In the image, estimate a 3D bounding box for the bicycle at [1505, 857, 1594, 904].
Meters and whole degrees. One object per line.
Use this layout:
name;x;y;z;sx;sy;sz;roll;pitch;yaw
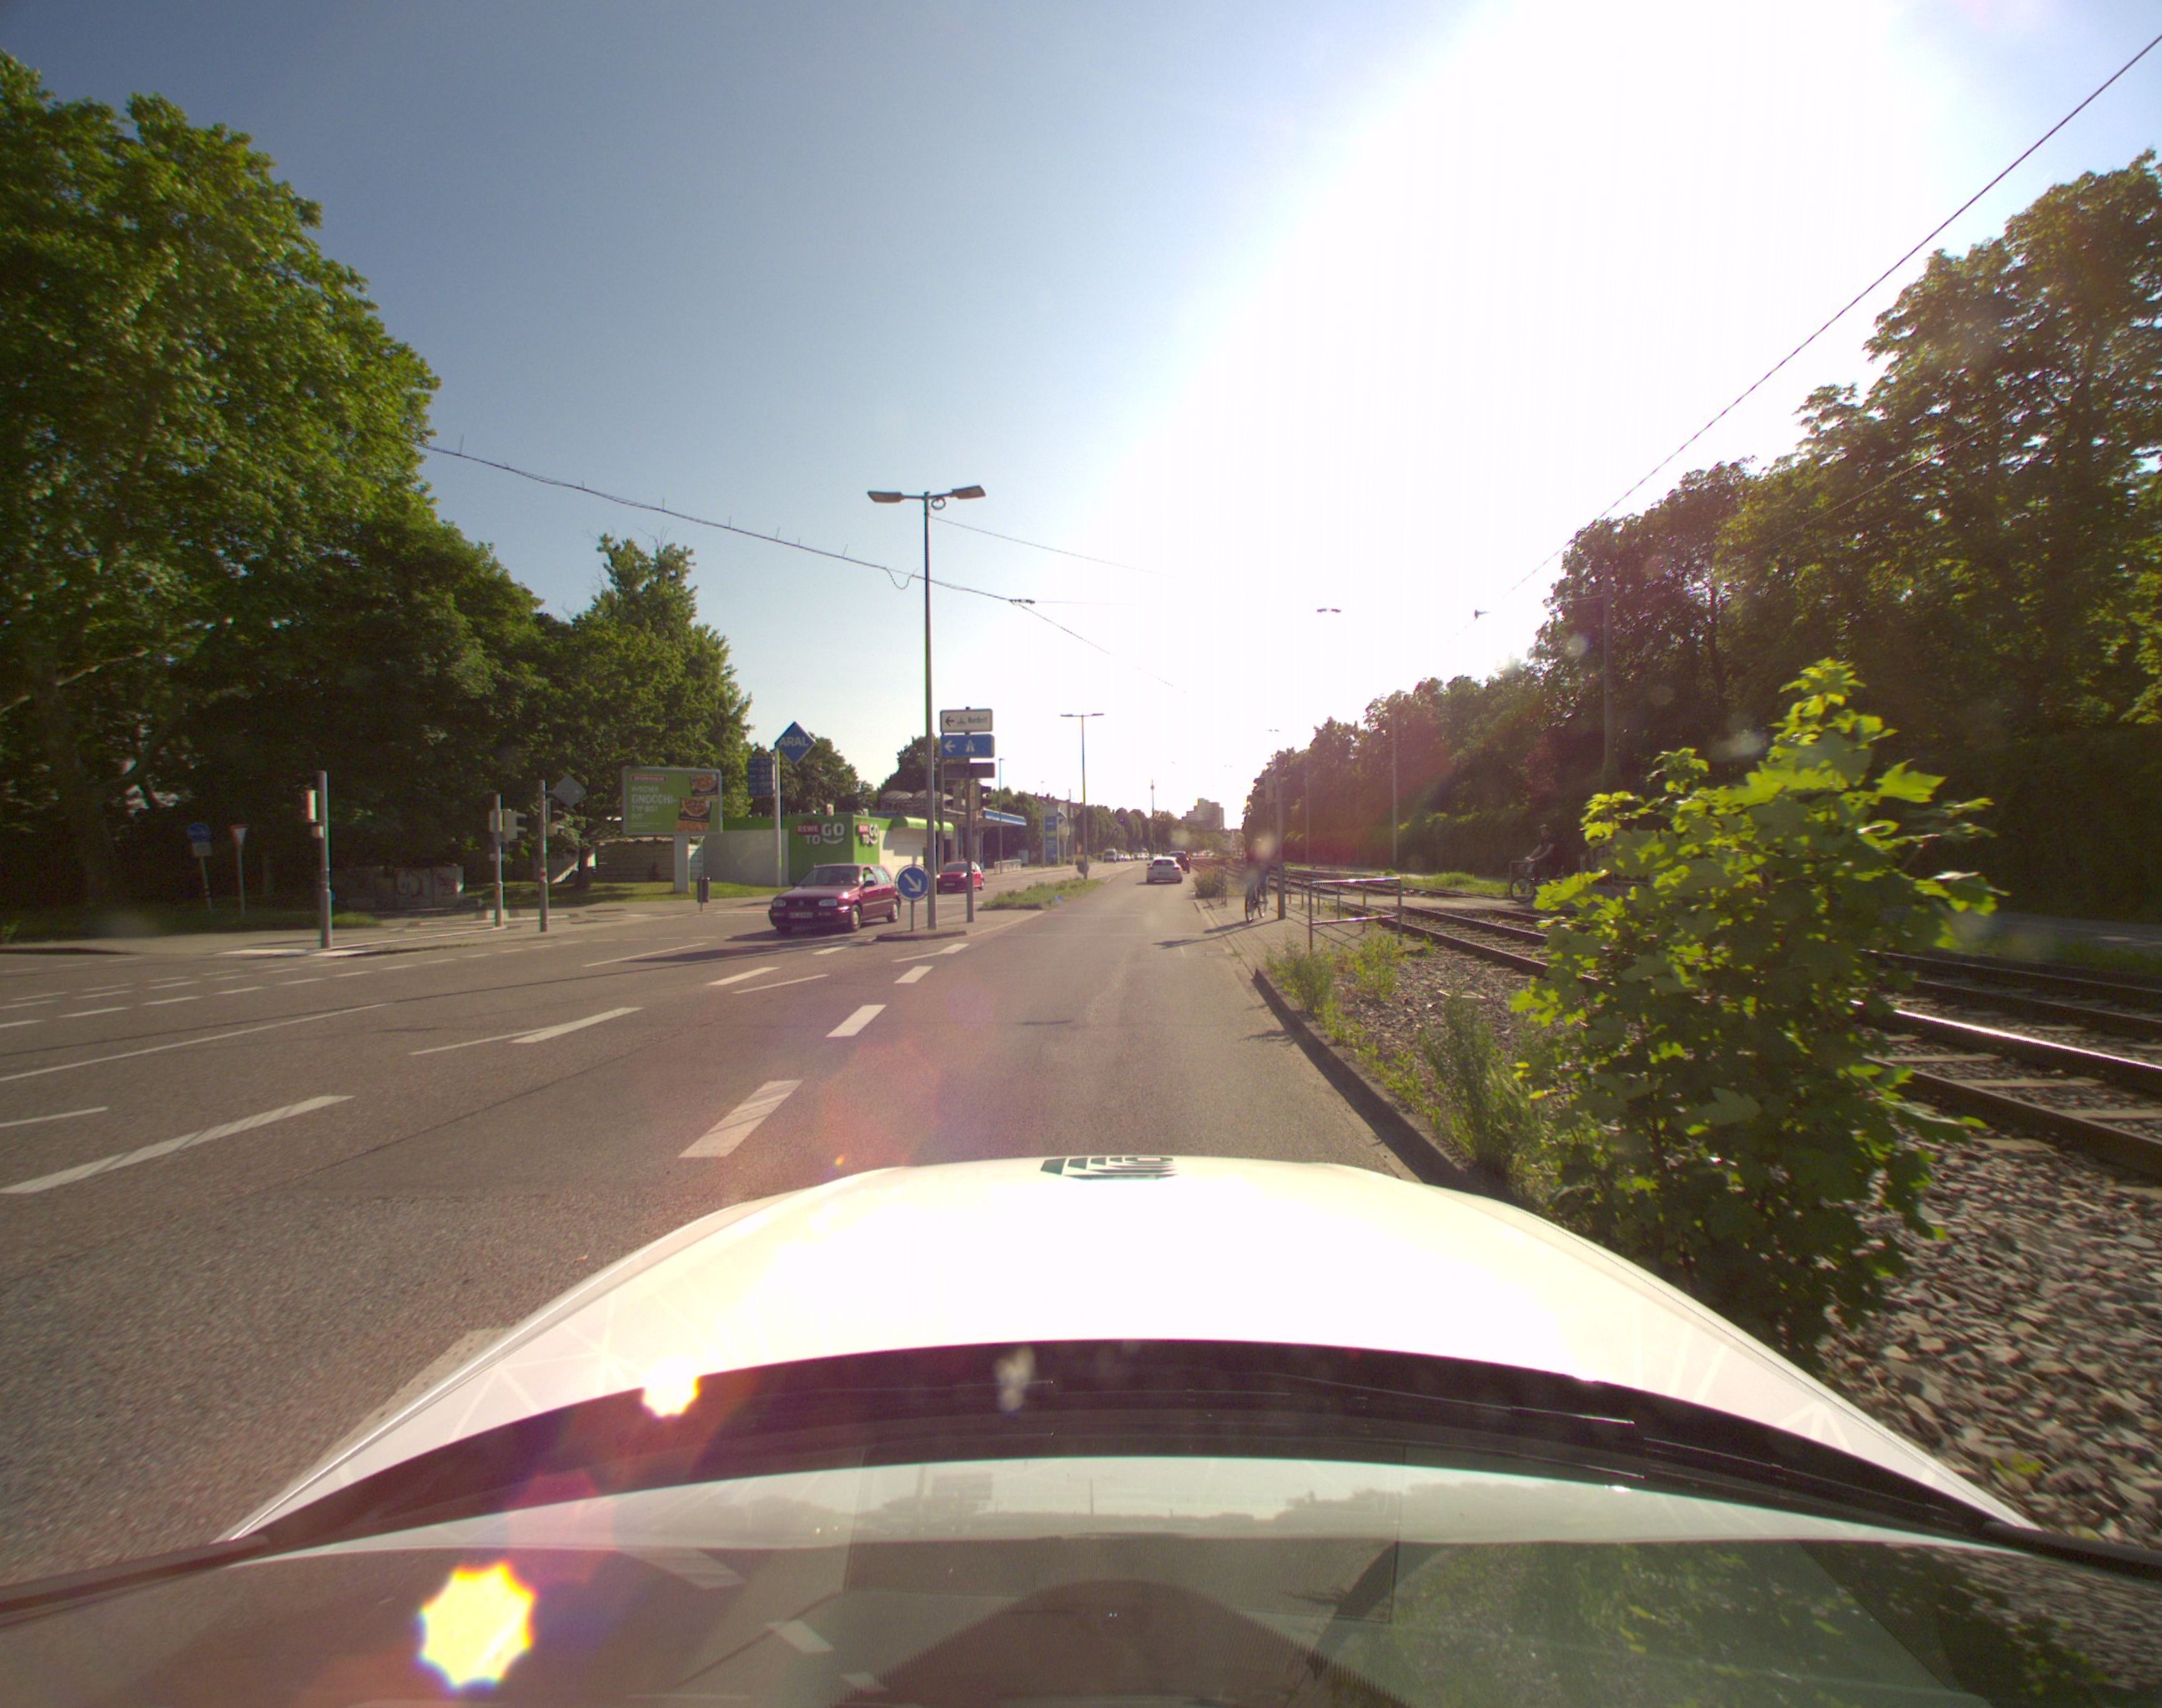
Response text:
bicycle;11.861;0.667;20.649;1.902;1.115;0.953;-1;0;30

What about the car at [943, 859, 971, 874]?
car;-12.164;1.199;80.000;1.735;1.393;4.126;-2;0;5

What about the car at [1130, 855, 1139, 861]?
car;12.992;0.979;197.294;1.982;1.416;3.853;-2;0;8

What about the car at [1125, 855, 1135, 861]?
car;11.160;0.879;185.718;1.982;1.416;3.853;-2;0;8

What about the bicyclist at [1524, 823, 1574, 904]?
bicyclist;11.854;0.229;20.645;1.023;1.993;0.953;-1;0;30

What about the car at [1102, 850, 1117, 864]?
car;5.217;0.561;147.811;1.982;2.376;4.550;-2;0;9

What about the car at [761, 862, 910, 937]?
car;-5.241;0.917;17.976;1.644;1.395;4.141;-1;0;6

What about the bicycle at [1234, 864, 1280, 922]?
bicycle;3.873;0.823;17.832;0.637;1.154;1.947;-1;0;22

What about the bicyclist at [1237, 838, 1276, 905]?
bicyclist;3.833;0.371;17.767;0.637;1.416;1.018;-2;0;22

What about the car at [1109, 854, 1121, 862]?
car;6.854;0.823;163.153;1.982;1.416;3.853;-2;0;8

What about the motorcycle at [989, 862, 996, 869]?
motorcycle;-12.380;1.558;113.674;0.667;0.901;1.674;-2;0;7

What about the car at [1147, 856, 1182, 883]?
car;4.408;0.776;43.050;1.772;1.356;3.607;1;0;6

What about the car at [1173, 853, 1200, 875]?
car;7.985;0.730;61.907;1.717;1.593;3.603;1;0;2

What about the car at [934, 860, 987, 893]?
car;-5.572;1.028;37.904;1.565;1.417;3.340;-1;0;7

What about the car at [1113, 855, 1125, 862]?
car;7.852;0.858;169.030;1.982;1.416;3.853;-2;0;8
